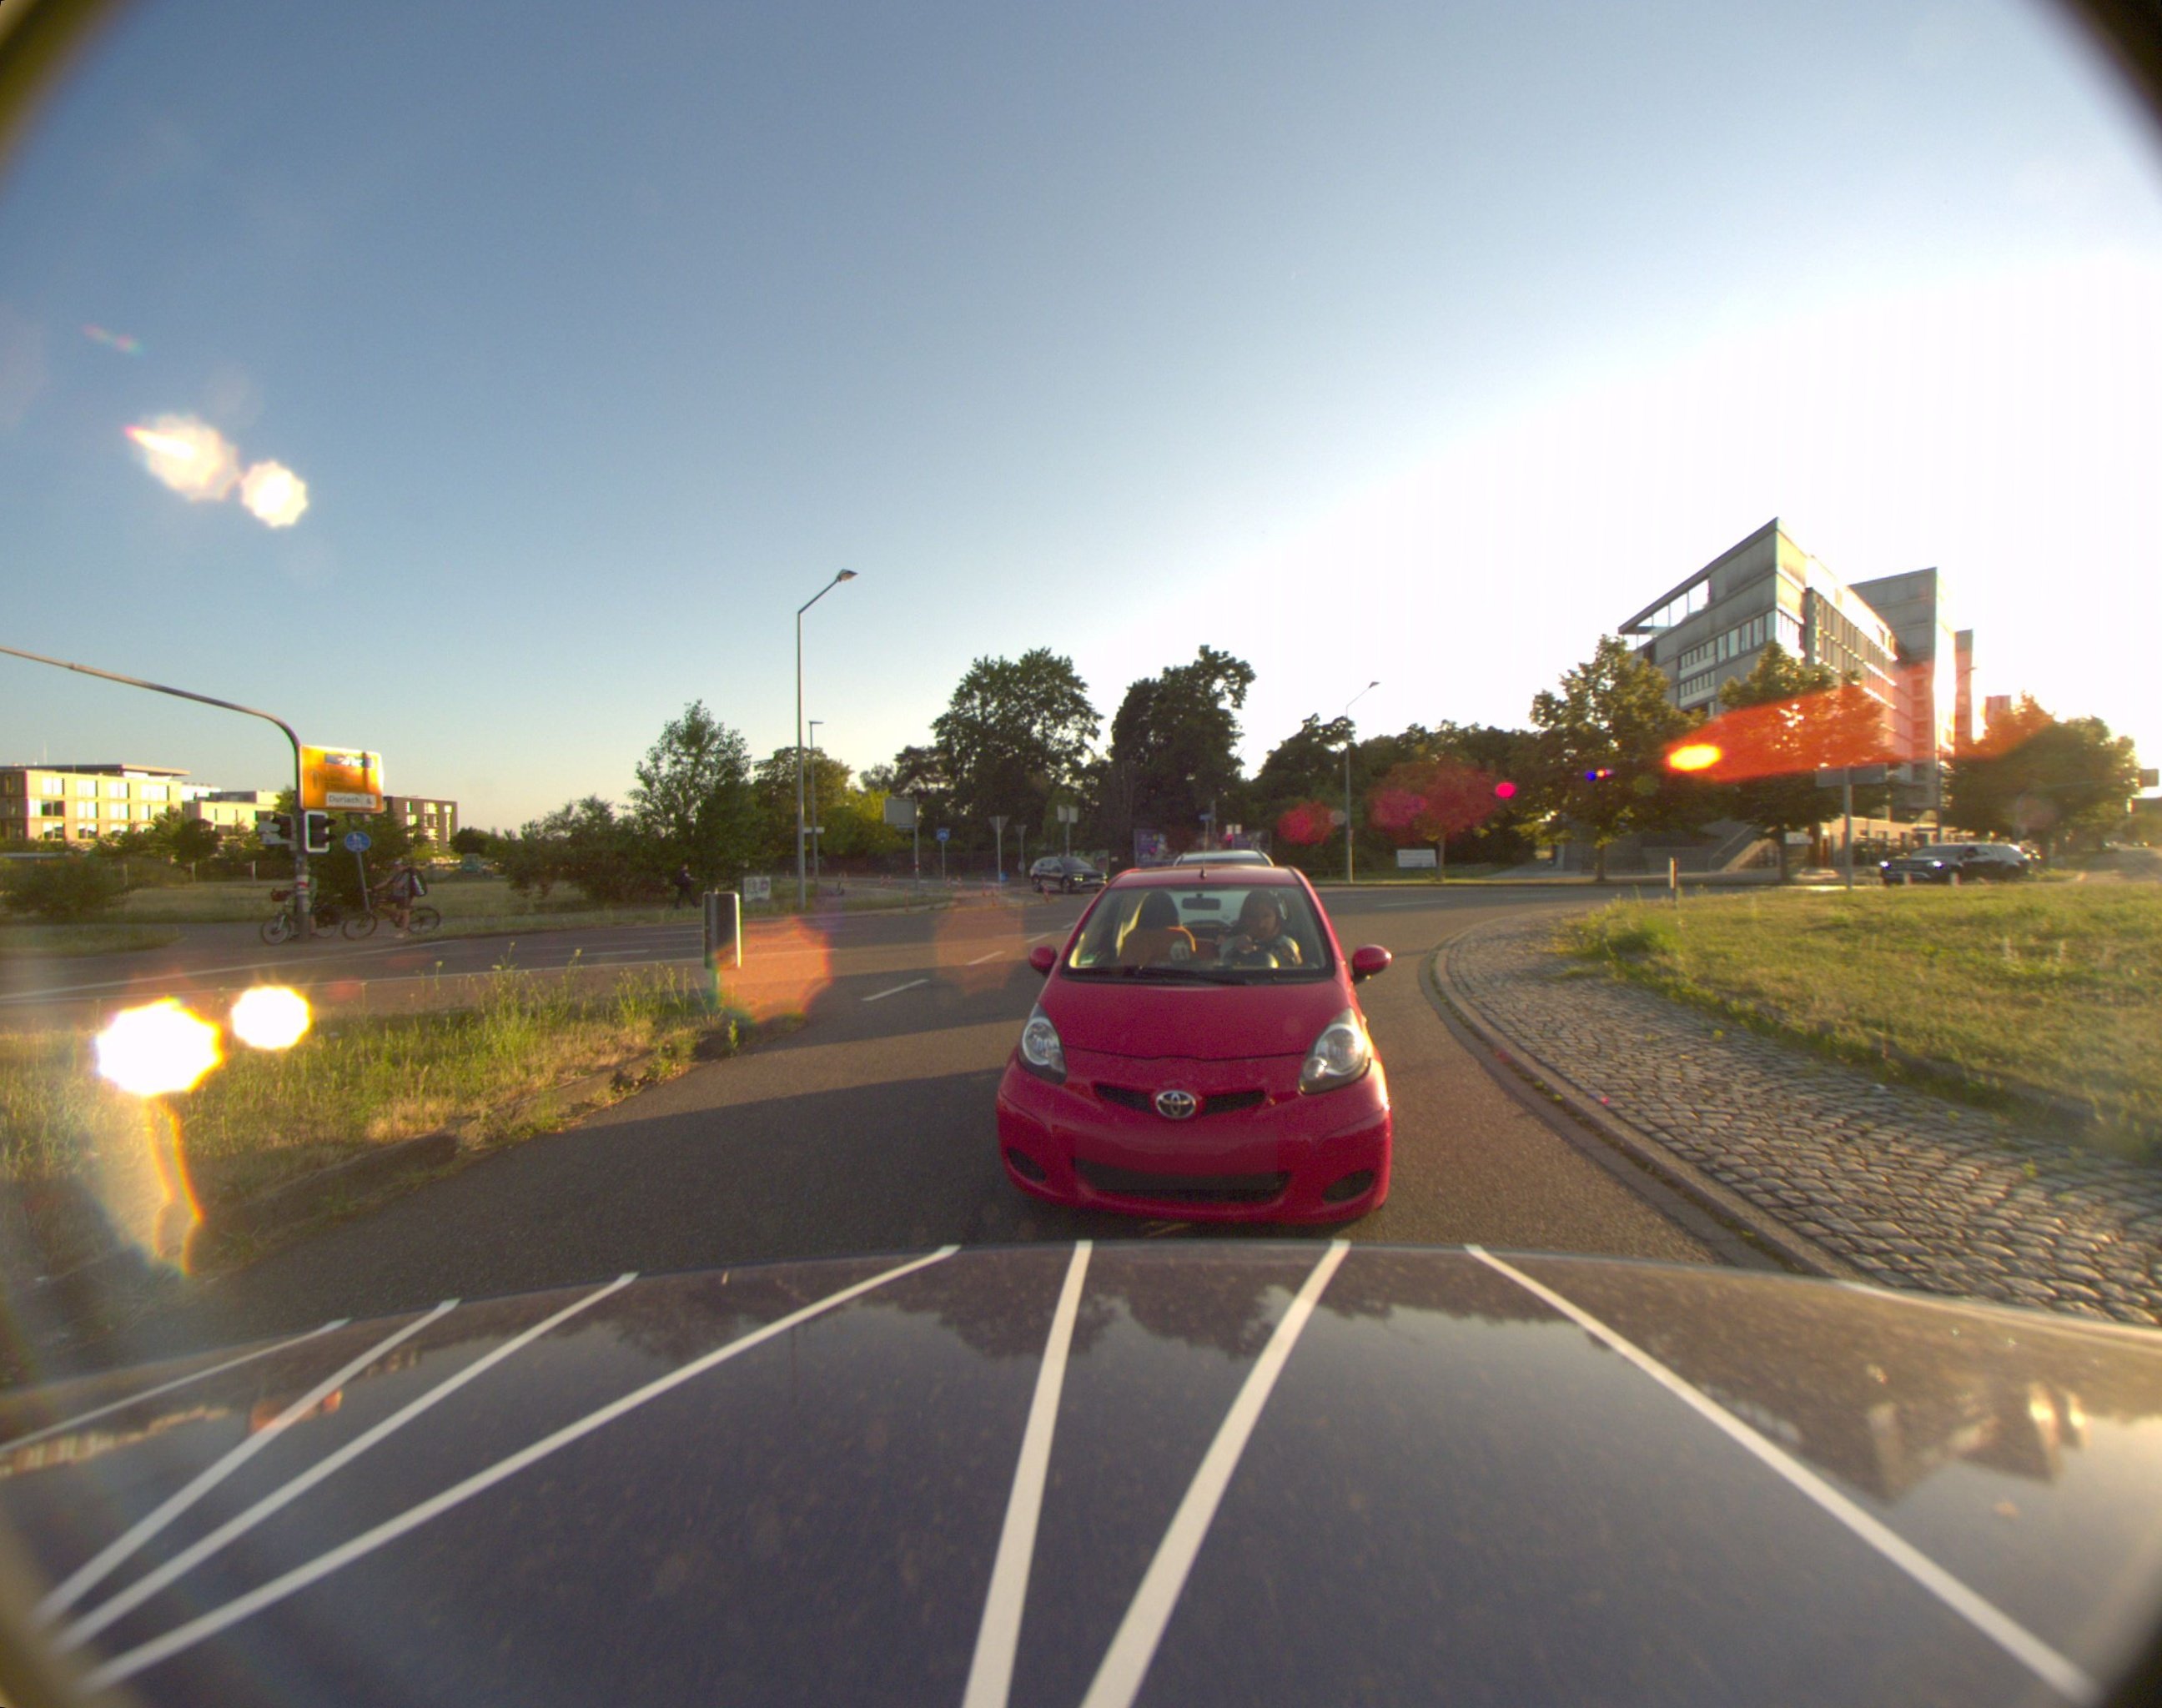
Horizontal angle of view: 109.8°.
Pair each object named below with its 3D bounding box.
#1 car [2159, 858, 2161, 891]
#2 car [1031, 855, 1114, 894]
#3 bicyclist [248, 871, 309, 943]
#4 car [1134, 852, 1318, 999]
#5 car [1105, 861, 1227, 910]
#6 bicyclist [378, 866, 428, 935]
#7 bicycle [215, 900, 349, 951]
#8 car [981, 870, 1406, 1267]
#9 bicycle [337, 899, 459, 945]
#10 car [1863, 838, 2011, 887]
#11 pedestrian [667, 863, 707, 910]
[{"bbox_3d":[53.576,0.955,35.286,4.565,1.550,1.833,-1,1,-1],"label":"car"},{"bbox_3d":[-0.460,0.864,34.229,2.003,1.588,4.304,-1,0,-28],"label":"car"},{"bbox_3d":[-19.323,1.255,18.306,0.724,1.680,0.690,-1,1,12],"label":"bicyclist"},{"bbox_3d":[1.932,0.795,10.533,1.997,1.597,4.201,-1,0,9],"label":"car"},{"bbox_3d":[2.849,0.965,24.781,1.746,1.371,4.134,-1,0,44],"label":"car"},{"bbox_3d":[-17.138,1.163,19.214,0.723,1.680,0.690,-1,1,28],"label":"bicyclist"},{"bbox_3d":[-19.264,1.696,18.393,0.708,0.958,2.109,-1,2,14],"label":"bicycle"},{"bbox_3d":[0.840,0.880,5.041,1.687,1.412,4.004,-1,0,12],"label":"car"},{"bbox_3d":[-17.153,1.677,19.153,0.708,0.957,2.149,-1,0,26],"label":"bicycle"},{"bbox_3d":[33.520,0.310,29.761,5.311,1.802,1.997,0,-1,-20],"label":"car"},{"bbox_3d":[-13.996,1.136,26.992,0.994,1.581,0.924,-2,1,-44],"label":"pedestrian"}]
